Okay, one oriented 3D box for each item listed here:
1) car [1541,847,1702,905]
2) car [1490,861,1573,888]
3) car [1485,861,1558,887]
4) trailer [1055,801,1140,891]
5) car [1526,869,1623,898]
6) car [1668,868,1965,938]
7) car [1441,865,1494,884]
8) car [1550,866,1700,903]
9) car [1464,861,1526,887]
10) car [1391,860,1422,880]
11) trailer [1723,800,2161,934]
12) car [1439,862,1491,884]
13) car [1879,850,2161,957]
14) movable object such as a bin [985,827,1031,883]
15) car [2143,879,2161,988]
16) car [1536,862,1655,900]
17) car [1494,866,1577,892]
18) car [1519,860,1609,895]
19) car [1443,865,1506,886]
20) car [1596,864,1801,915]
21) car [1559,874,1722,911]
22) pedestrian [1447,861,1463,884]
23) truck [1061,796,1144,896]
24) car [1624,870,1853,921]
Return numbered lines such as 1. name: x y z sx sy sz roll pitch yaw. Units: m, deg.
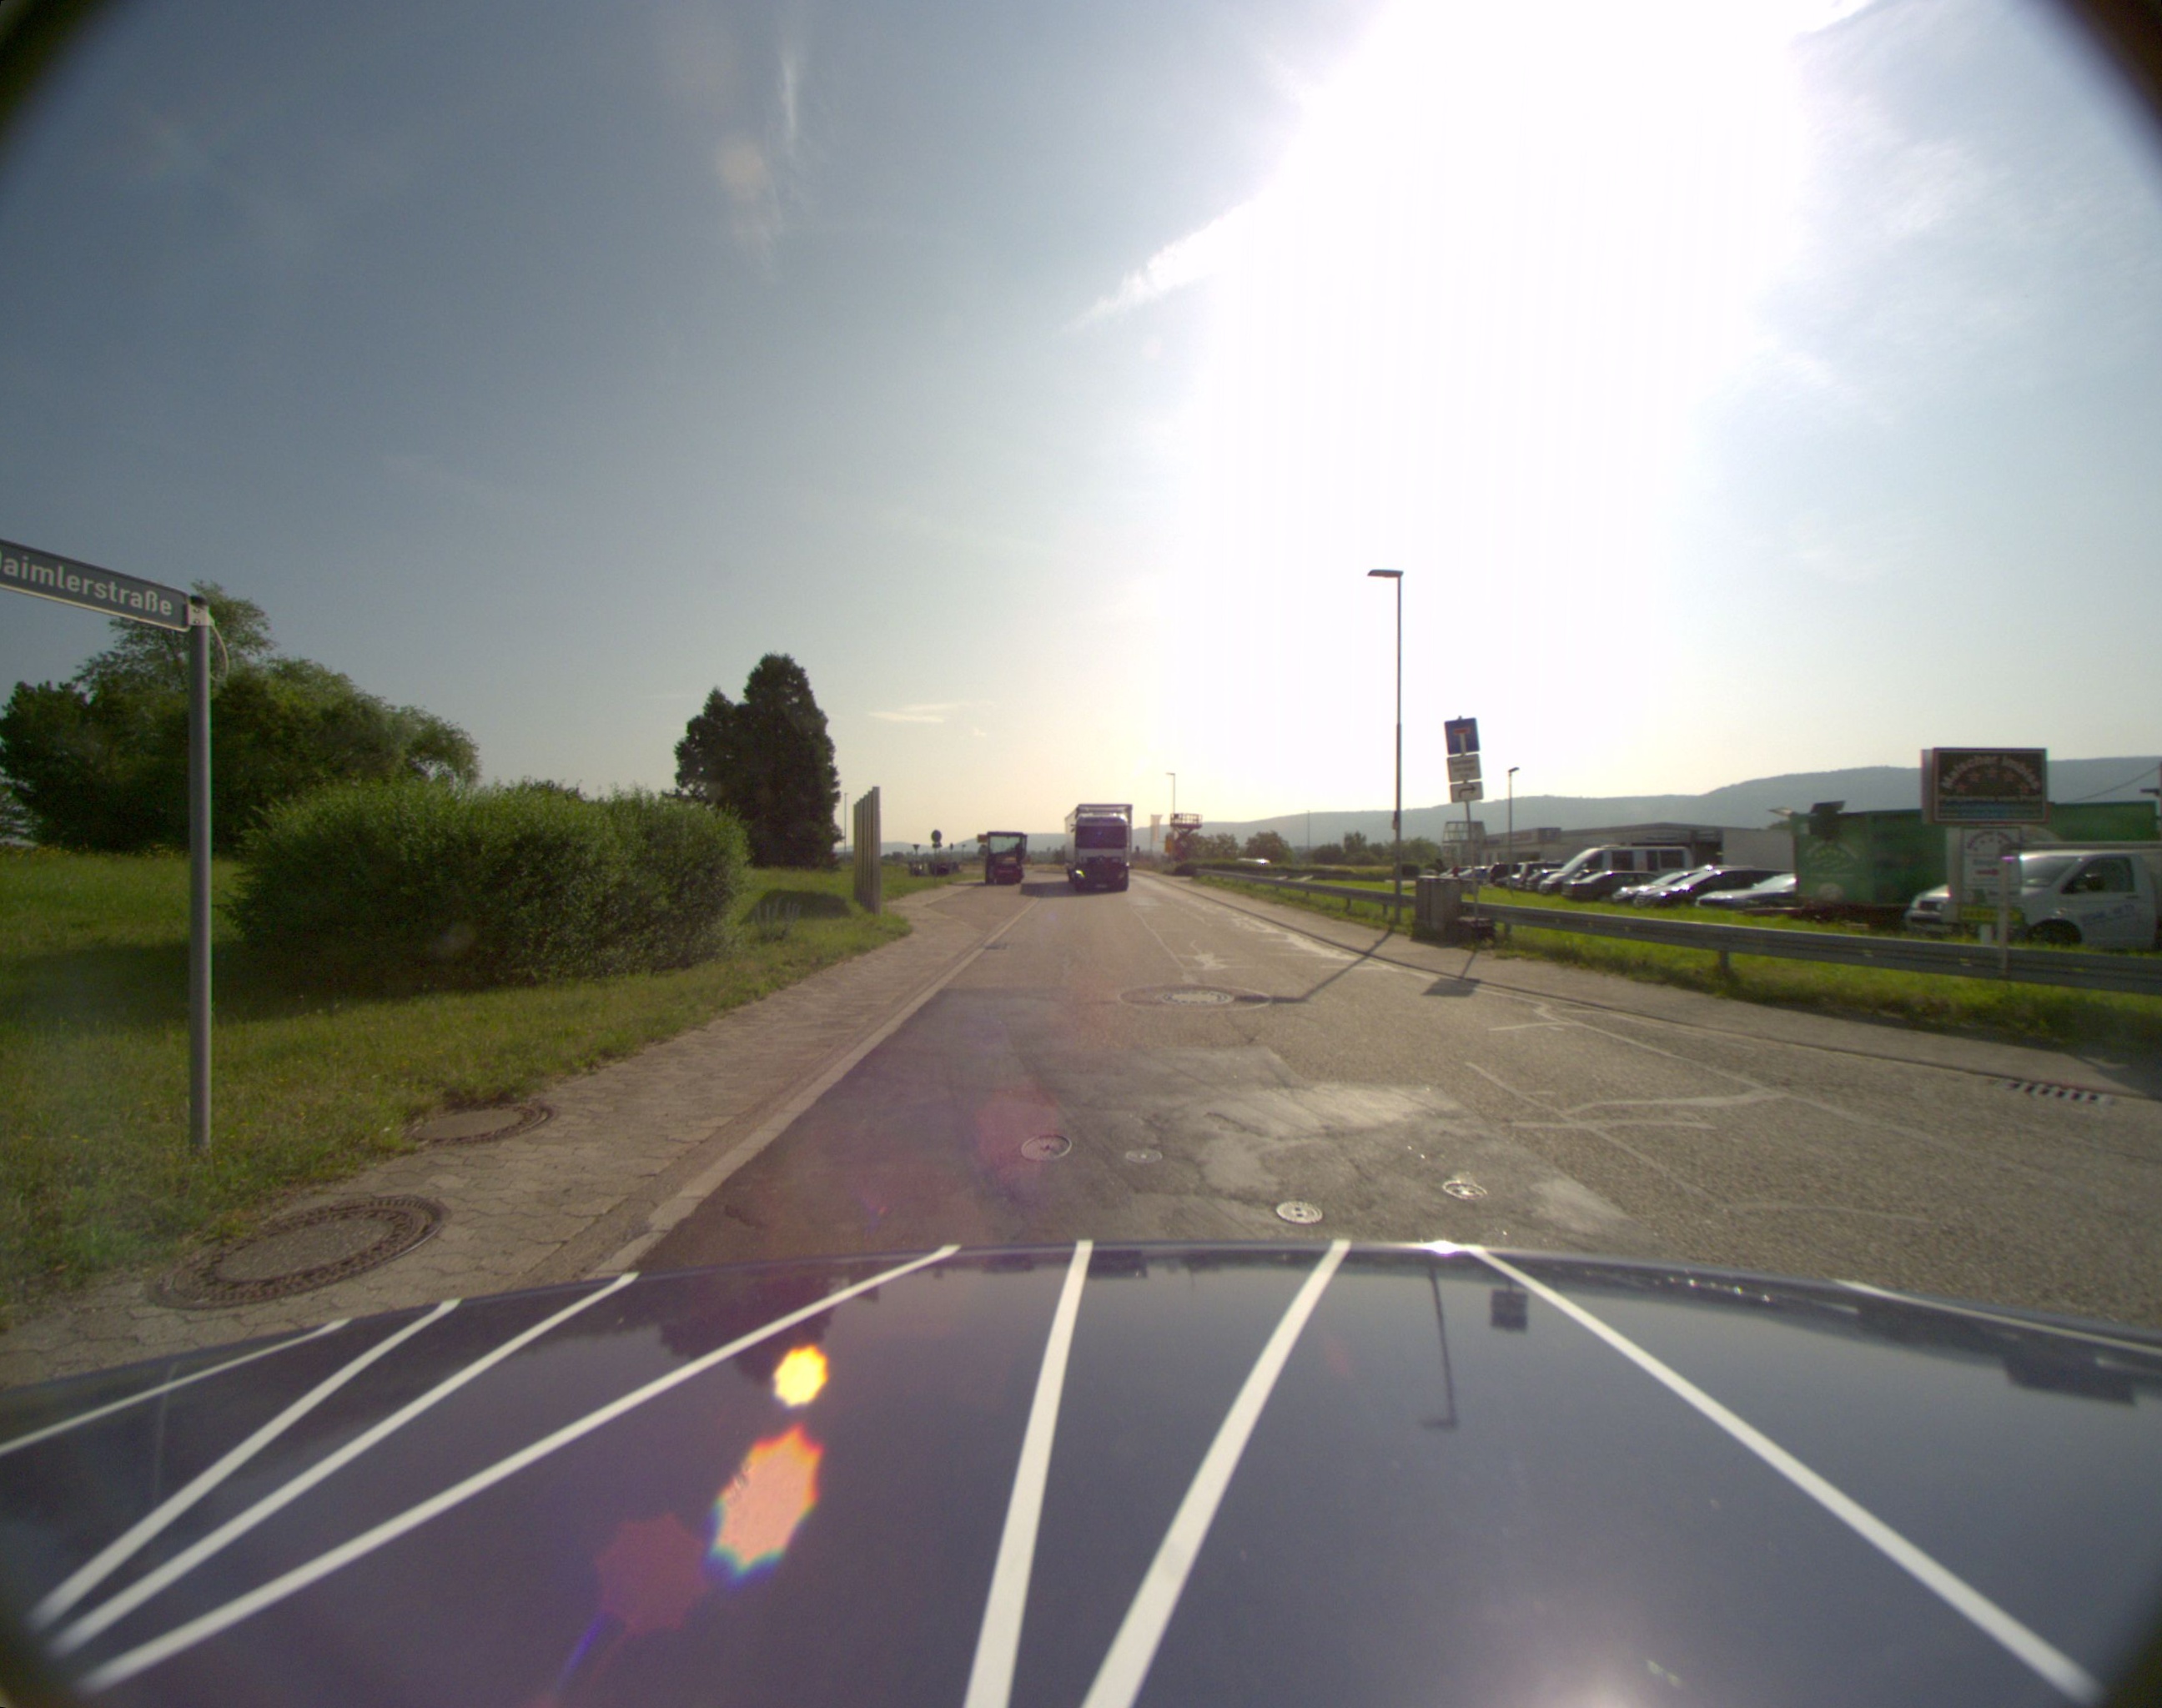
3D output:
1. car: 23.934 0.951 33.949 5.394 2.358 2.298 1 -1 19
2. car: 27.323 1.251 46.187 3.993 1.512 1.686 1 0 12
3. car: 28.054 1.264 48.462 3.681 1.512 1.686 1 0 12
4. trailer: 0.572 -0.452 43.318 3.498 4.183 14.227 -2 1 -4
5. car: 25.186 1.479 38.903 3.750 1.301 1.809 1 0 15
6. car: 18.901 1.218 19.904 5.131 1.525 2.182 1 -1 19
7. car: 32.414 1.674 63.788 3.659 1.455 1.766 1 0 15
8. car: 22.556 1.261 31.736 4.755 1.346 1.925 1 -1 19
9. car: 31.441 1.490 57.809 3.767 1.785 1.935 -2 1 13
10. car: 34.282 1.652 80.124 1.997 2.002 4.160 1 0 9
11. trailer: 18.795 0.216 16.846 6.315 2.589 2.857 1 0 15
12. car: 34.695 1.704 68.733 4.087 1.861 1.820 1 0 23
13. car: 17.984 0.842 13.413 5.272 1.696 2.001 1 0 7
14. movable object such as a bin: -4.288 0.047 44.266 2.436 2.994 5.750 1 0 -7
15. car: 17.436 1.128 10.069 4.839 1.501 1.961 1 0 -9
16. car: 24.613 1.263 36.513 4.393 1.653 1.810 1 -1 19
17. car: 26.170 1.414 43.906 3.750 1.381 1.731 1 0 15
18. car: 26.147 1.232 41.232 3.750 1.741 1.751 1 0 15
19. car: 31.370 1.713 60.671 4.149 1.526 1.885 1 0 13
20. car: 21.160 1.187 26.345 5.131 1.525 2.029 1 -1 19
21. car: 21.258 1.430 29.110 4.686 1.212 1.834 1 -1 19
22. pedestrian: 29.198 1.465 59.349 0.839 1.744 0.993 -2 1 8
23. truck: 0.830 -0.387 35.640 3.396 4.183 6.097 -2 1 -2
24. car: 19.737 1.225 23.098 4.956 1.309 1.782 1 -1 19
